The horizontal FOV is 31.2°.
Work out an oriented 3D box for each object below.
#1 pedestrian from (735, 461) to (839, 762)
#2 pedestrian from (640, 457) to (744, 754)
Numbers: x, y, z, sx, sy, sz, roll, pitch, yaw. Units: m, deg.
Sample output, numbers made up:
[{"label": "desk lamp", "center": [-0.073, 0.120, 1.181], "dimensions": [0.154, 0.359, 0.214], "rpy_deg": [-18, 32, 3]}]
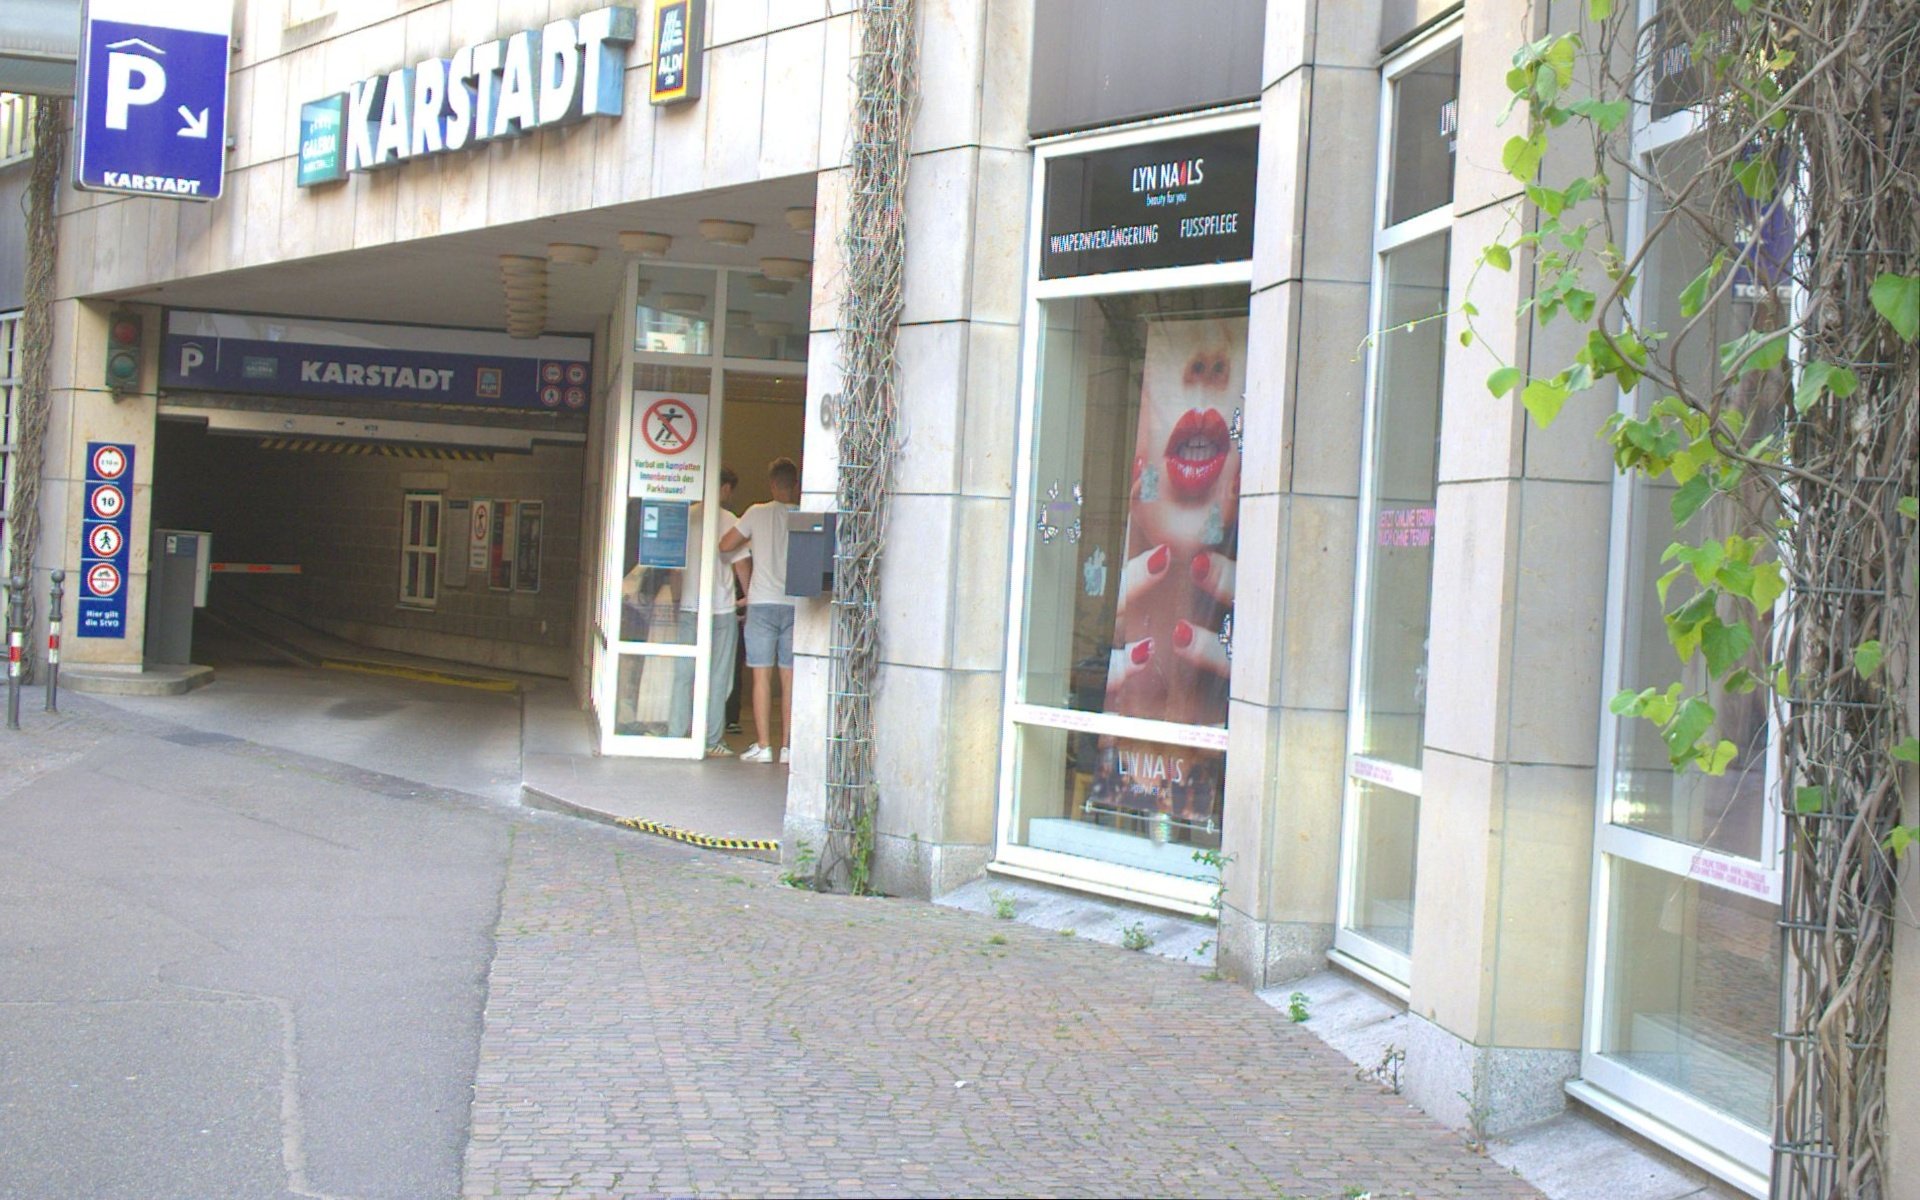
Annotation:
[{"label": "pedestrian", "center": [-1.090, 0.067, 21.689], "dimensions": [0.542, 1.855, 0.408], "rpy_deg": [3, 1, -1]}, {"label": "pedestrian", "center": [-1.702, 0.029, 21.853], "dimensions": [0.542, 1.840, 0.408], "rpy_deg": [3, 1, -1]}]
